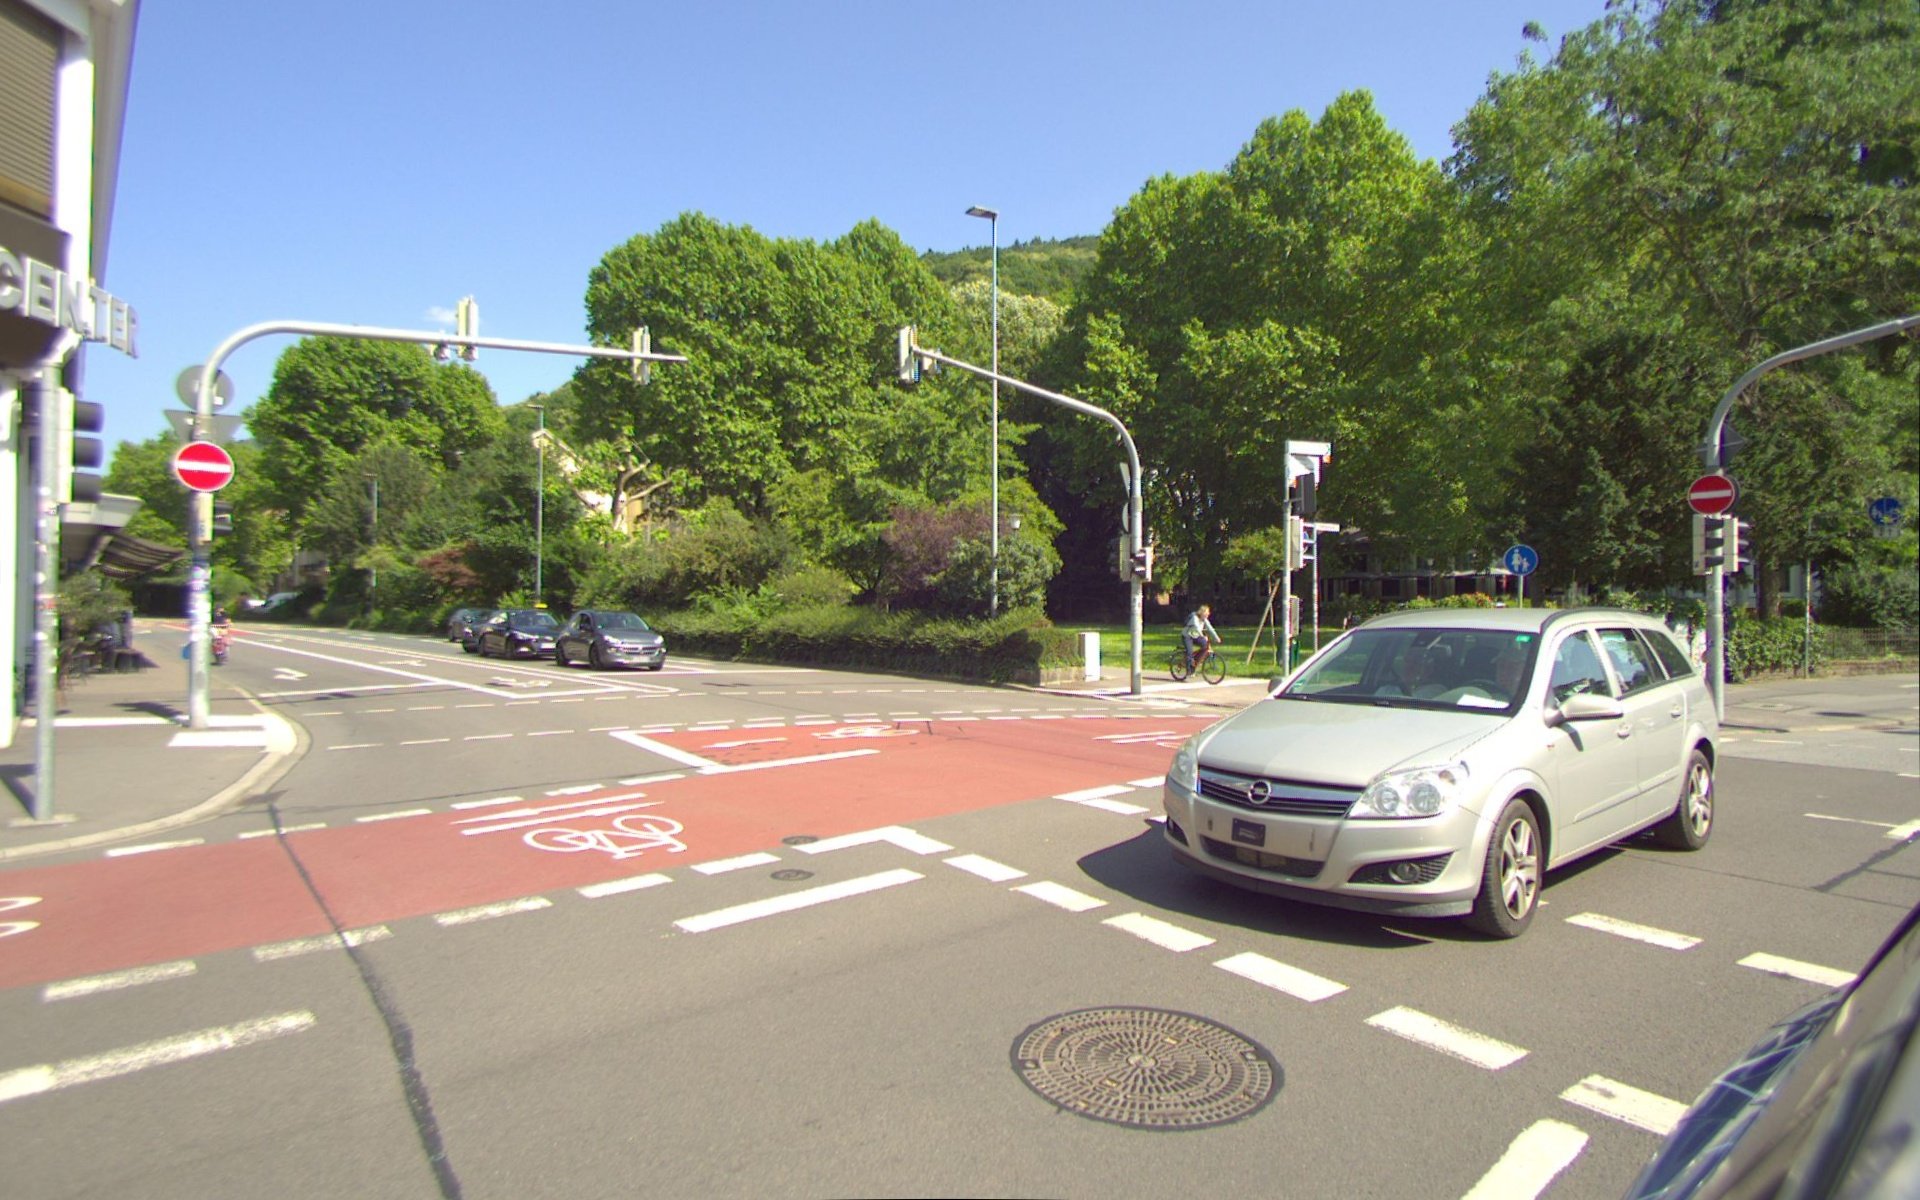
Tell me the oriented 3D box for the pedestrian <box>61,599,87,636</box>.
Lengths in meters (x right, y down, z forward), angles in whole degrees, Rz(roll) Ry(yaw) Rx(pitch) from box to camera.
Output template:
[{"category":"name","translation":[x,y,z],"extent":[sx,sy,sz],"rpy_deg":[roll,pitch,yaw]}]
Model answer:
[{"category":"pedestrian","translation":[-33.864,0.672,38.680],"extent":[0.745,1.411,0.715],"rpy_deg":[1,-1,-42]}]

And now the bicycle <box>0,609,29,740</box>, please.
[{"category":"bicycle","translation":[-10.702,0.745,10.494],"extent":[1.829,1.333,0.529],"rpy_deg":[1,-1,10]}]

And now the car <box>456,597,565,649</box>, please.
[{"category":"car","translation":[-14.836,0.739,33.724],"extent":[2.023,1.604,4.751],"rpy_deg":[0,-1,-7]}]

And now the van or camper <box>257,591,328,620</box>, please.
[{"category":"van or camper","translation":[-70.575,0.594,107.084],"extent":[5.803,2.941,2.386],"rpy_deg":[0,-1,-4]}]

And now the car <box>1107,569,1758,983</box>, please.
[{"category":"car","translation":[2.947,0.673,5.829],"extent":[4.327,1.542,1.711],"rpy_deg":[1,-1,-40]}]

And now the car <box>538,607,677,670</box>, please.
[{"category":"car","translation":[-8.777,0.898,25.026],"extent":[1.827,1.381,4.090],"rpy_deg":[2,-1,-41]}]

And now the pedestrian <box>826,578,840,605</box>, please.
[{"category":"pedestrian","translation":[-8.246,-0.546,65.639],"extent":[0.675,1.705,0.663],"rpy_deg":[0,-1,-31]}]

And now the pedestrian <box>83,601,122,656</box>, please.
[{"category":"pedestrian","translation":[-22.776,0.746,26.877],"extent":[0.745,1.411,0.927],"rpy_deg":[1,-1,-42]}]

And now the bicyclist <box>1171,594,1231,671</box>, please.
[{"category":"bicyclist","translation":[5.208,0.683,21.888],"extent":[0.851,1.594,0.944],"rpy_deg":[-1,1,-33]}]

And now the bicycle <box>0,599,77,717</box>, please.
[{"category":"bicycle","translation":[-12.366,0.707,12.921],"extent":[1.935,1.440,0.529],"rpy_deg":[1,-1,10]}]

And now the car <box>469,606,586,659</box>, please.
[{"category":"car","translation":[-12.473,0.886,29.077],"extent":[1.827,1.381,4.089],"rpy_deg":[2,-1,-42]}]

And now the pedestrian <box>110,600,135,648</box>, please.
[{"category":"pedestrian","translation":[-28.894,0.805,34.915],"extent":[0.606,1.632,0.871],"rpy_deg":[1,-1,-42]}]

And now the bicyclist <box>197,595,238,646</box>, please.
[{"category":"bicyclist","translation":[-20.194,0.545,27.526],"extent":[0.769,1.325,0.941],"rpy_deg":[-1,1,-43]}]

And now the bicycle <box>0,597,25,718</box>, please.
[{"category":"bicycle","translation":[-12.501,0.674,12.343],"extent":[1.935,1.440,0.529],"rpy_deg":[1,-1,10]}]

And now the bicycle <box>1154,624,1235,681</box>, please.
[{"category":"bicycle","translation":[5.076,1.107,21.963],"extent":[0.768,1.134,1.679],"rpy_deg":[0,0,-31]}]

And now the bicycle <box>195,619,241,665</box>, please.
[{"category":"bicycle","translation":[-20.186,1.124,27.526],"extent":[0.752,1.134,2.117],"rpy_deg":[-1,1,-43]}]

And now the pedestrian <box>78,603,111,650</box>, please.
[{"category":"pedestrian","translation":[-26.481,0.789,30.965],"extent":[0.745,1.411,0.715],"rpy_deg":[1,-1,-42]}]

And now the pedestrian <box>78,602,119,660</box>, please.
[{"category":"pedestrian","translation":[-21.611,0.757,25.379],"extent":[0.745,1.411,0.927],"rpy_deg":[1,-1,-42]}]

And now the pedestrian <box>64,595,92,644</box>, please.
[{"category":"pedestrian","translation":[-31.922,0.692,36.635],"extent":[0.745,1.751,0.796],"rpy_deg":[1,-1,-42]}]
